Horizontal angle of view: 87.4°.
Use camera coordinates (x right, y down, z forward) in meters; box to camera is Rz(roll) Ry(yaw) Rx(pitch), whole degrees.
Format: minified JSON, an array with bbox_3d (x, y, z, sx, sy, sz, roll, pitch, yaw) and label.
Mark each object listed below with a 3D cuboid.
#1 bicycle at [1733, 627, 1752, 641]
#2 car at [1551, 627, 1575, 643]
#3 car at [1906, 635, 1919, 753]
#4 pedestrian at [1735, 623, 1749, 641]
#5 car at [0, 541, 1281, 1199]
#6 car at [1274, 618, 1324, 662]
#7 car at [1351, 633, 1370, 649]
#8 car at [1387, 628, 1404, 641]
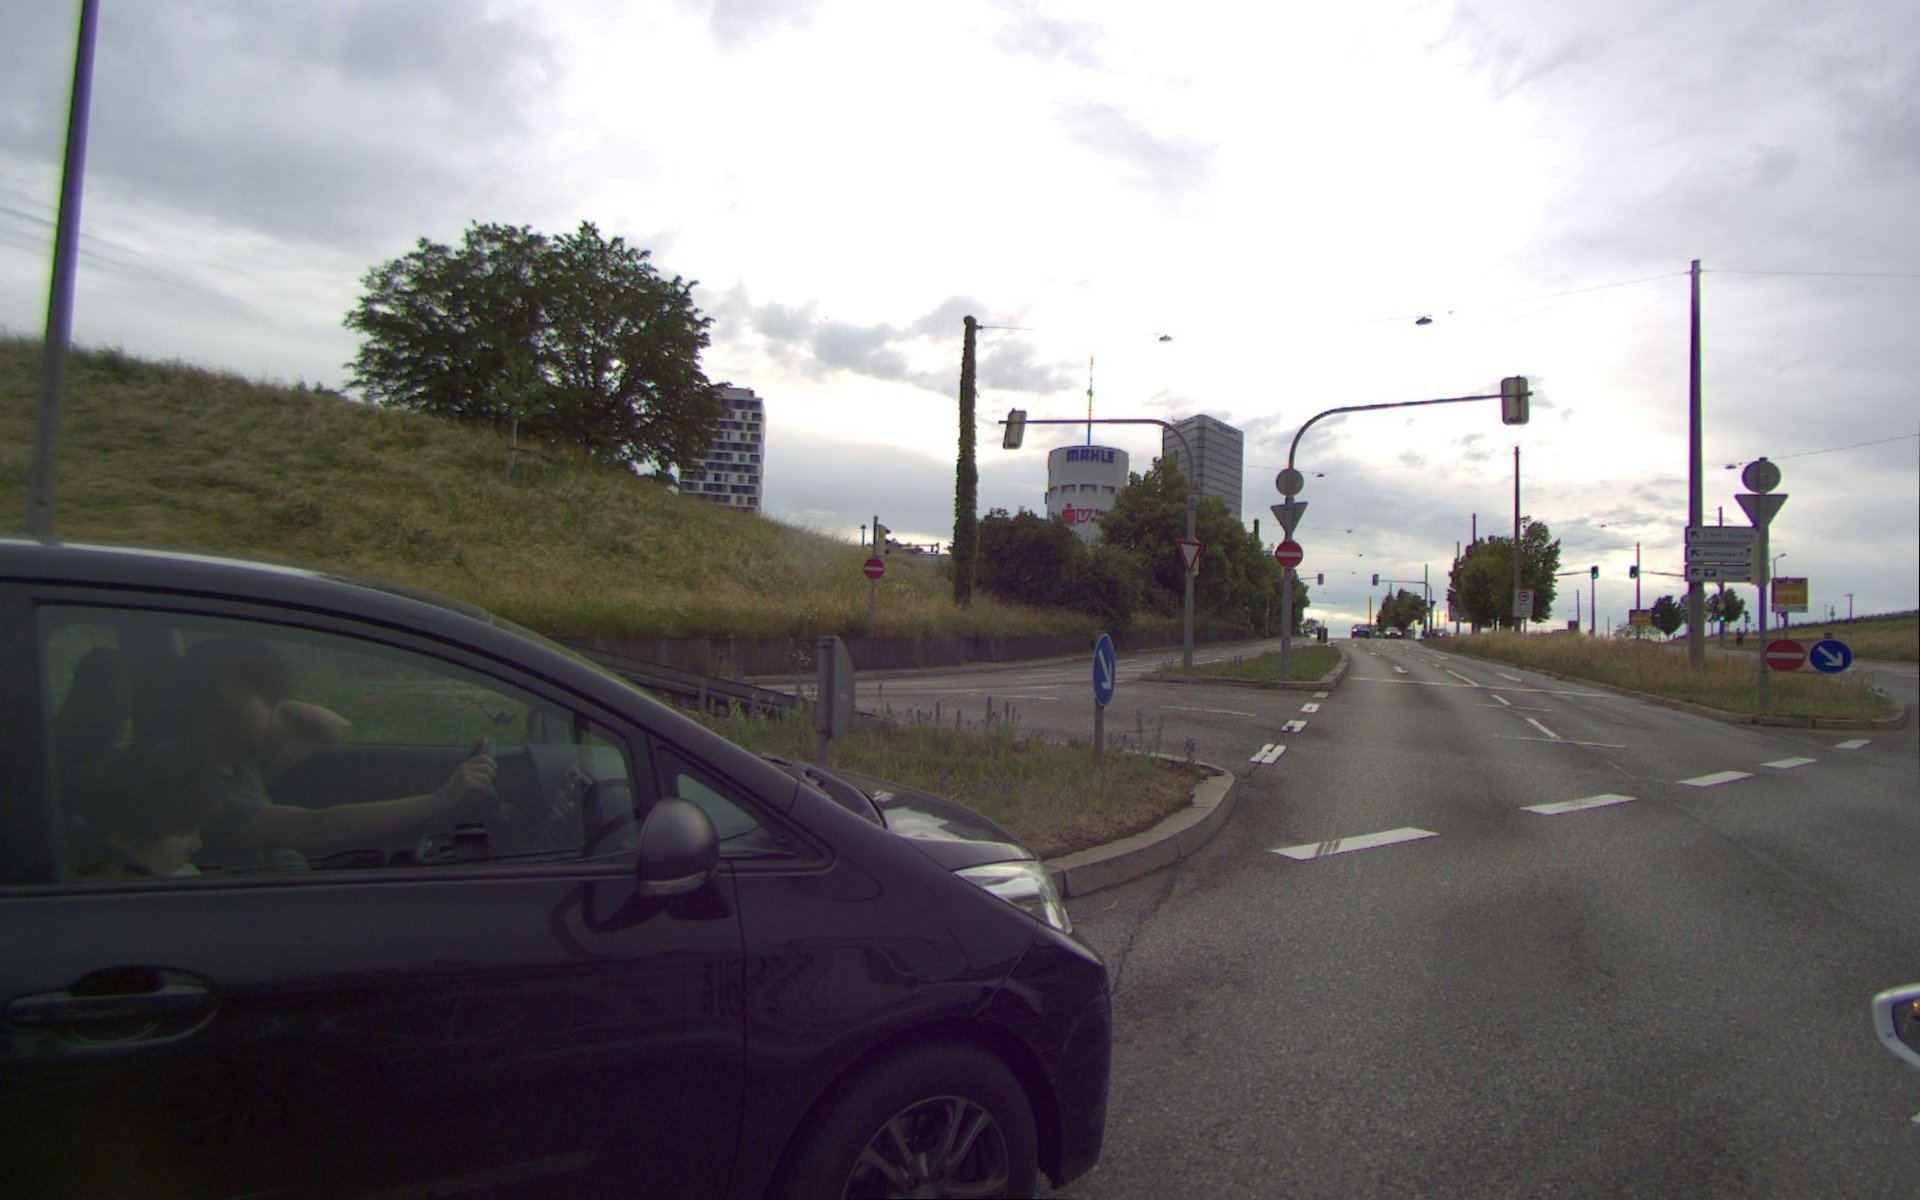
[{"bbox_3d":[66.642,2.912,85.521,0.622,1.119,1.754,2,-2,14],"label":"bicycle"},{"bbox_3d":[62.365,3.594,103.916,1.695,1.562,3.700,3,-1,25],"label":"car"},{"bbox_3d":[14.044,1.249,13.208,3.943,1.481,1.854,3,-2,-39],"label":"car"},{"bbox_3d":[66.626,2.728,85.552,0.622,1.591,0.896,0,-2,14],"label":"pedestrian"},{"bbox_3d":[-1.427,0.700,2.175,3.996,1.586,1.787,2,1,-30],"label":"car"},{"bbox_3d":[16.515,1.925,48.831,1.962,2.040,3.998,-1,-2,24],"label":"car"},{"bbox_3d":[44.632,4.548,111.905,1.831,1.641,4.000,1,-1,20],"label":"car"},{"bbox_3d":[54.223,4.269,125.054,1.780,1.489,3.612,2,-1,22],"label":"car"}]
